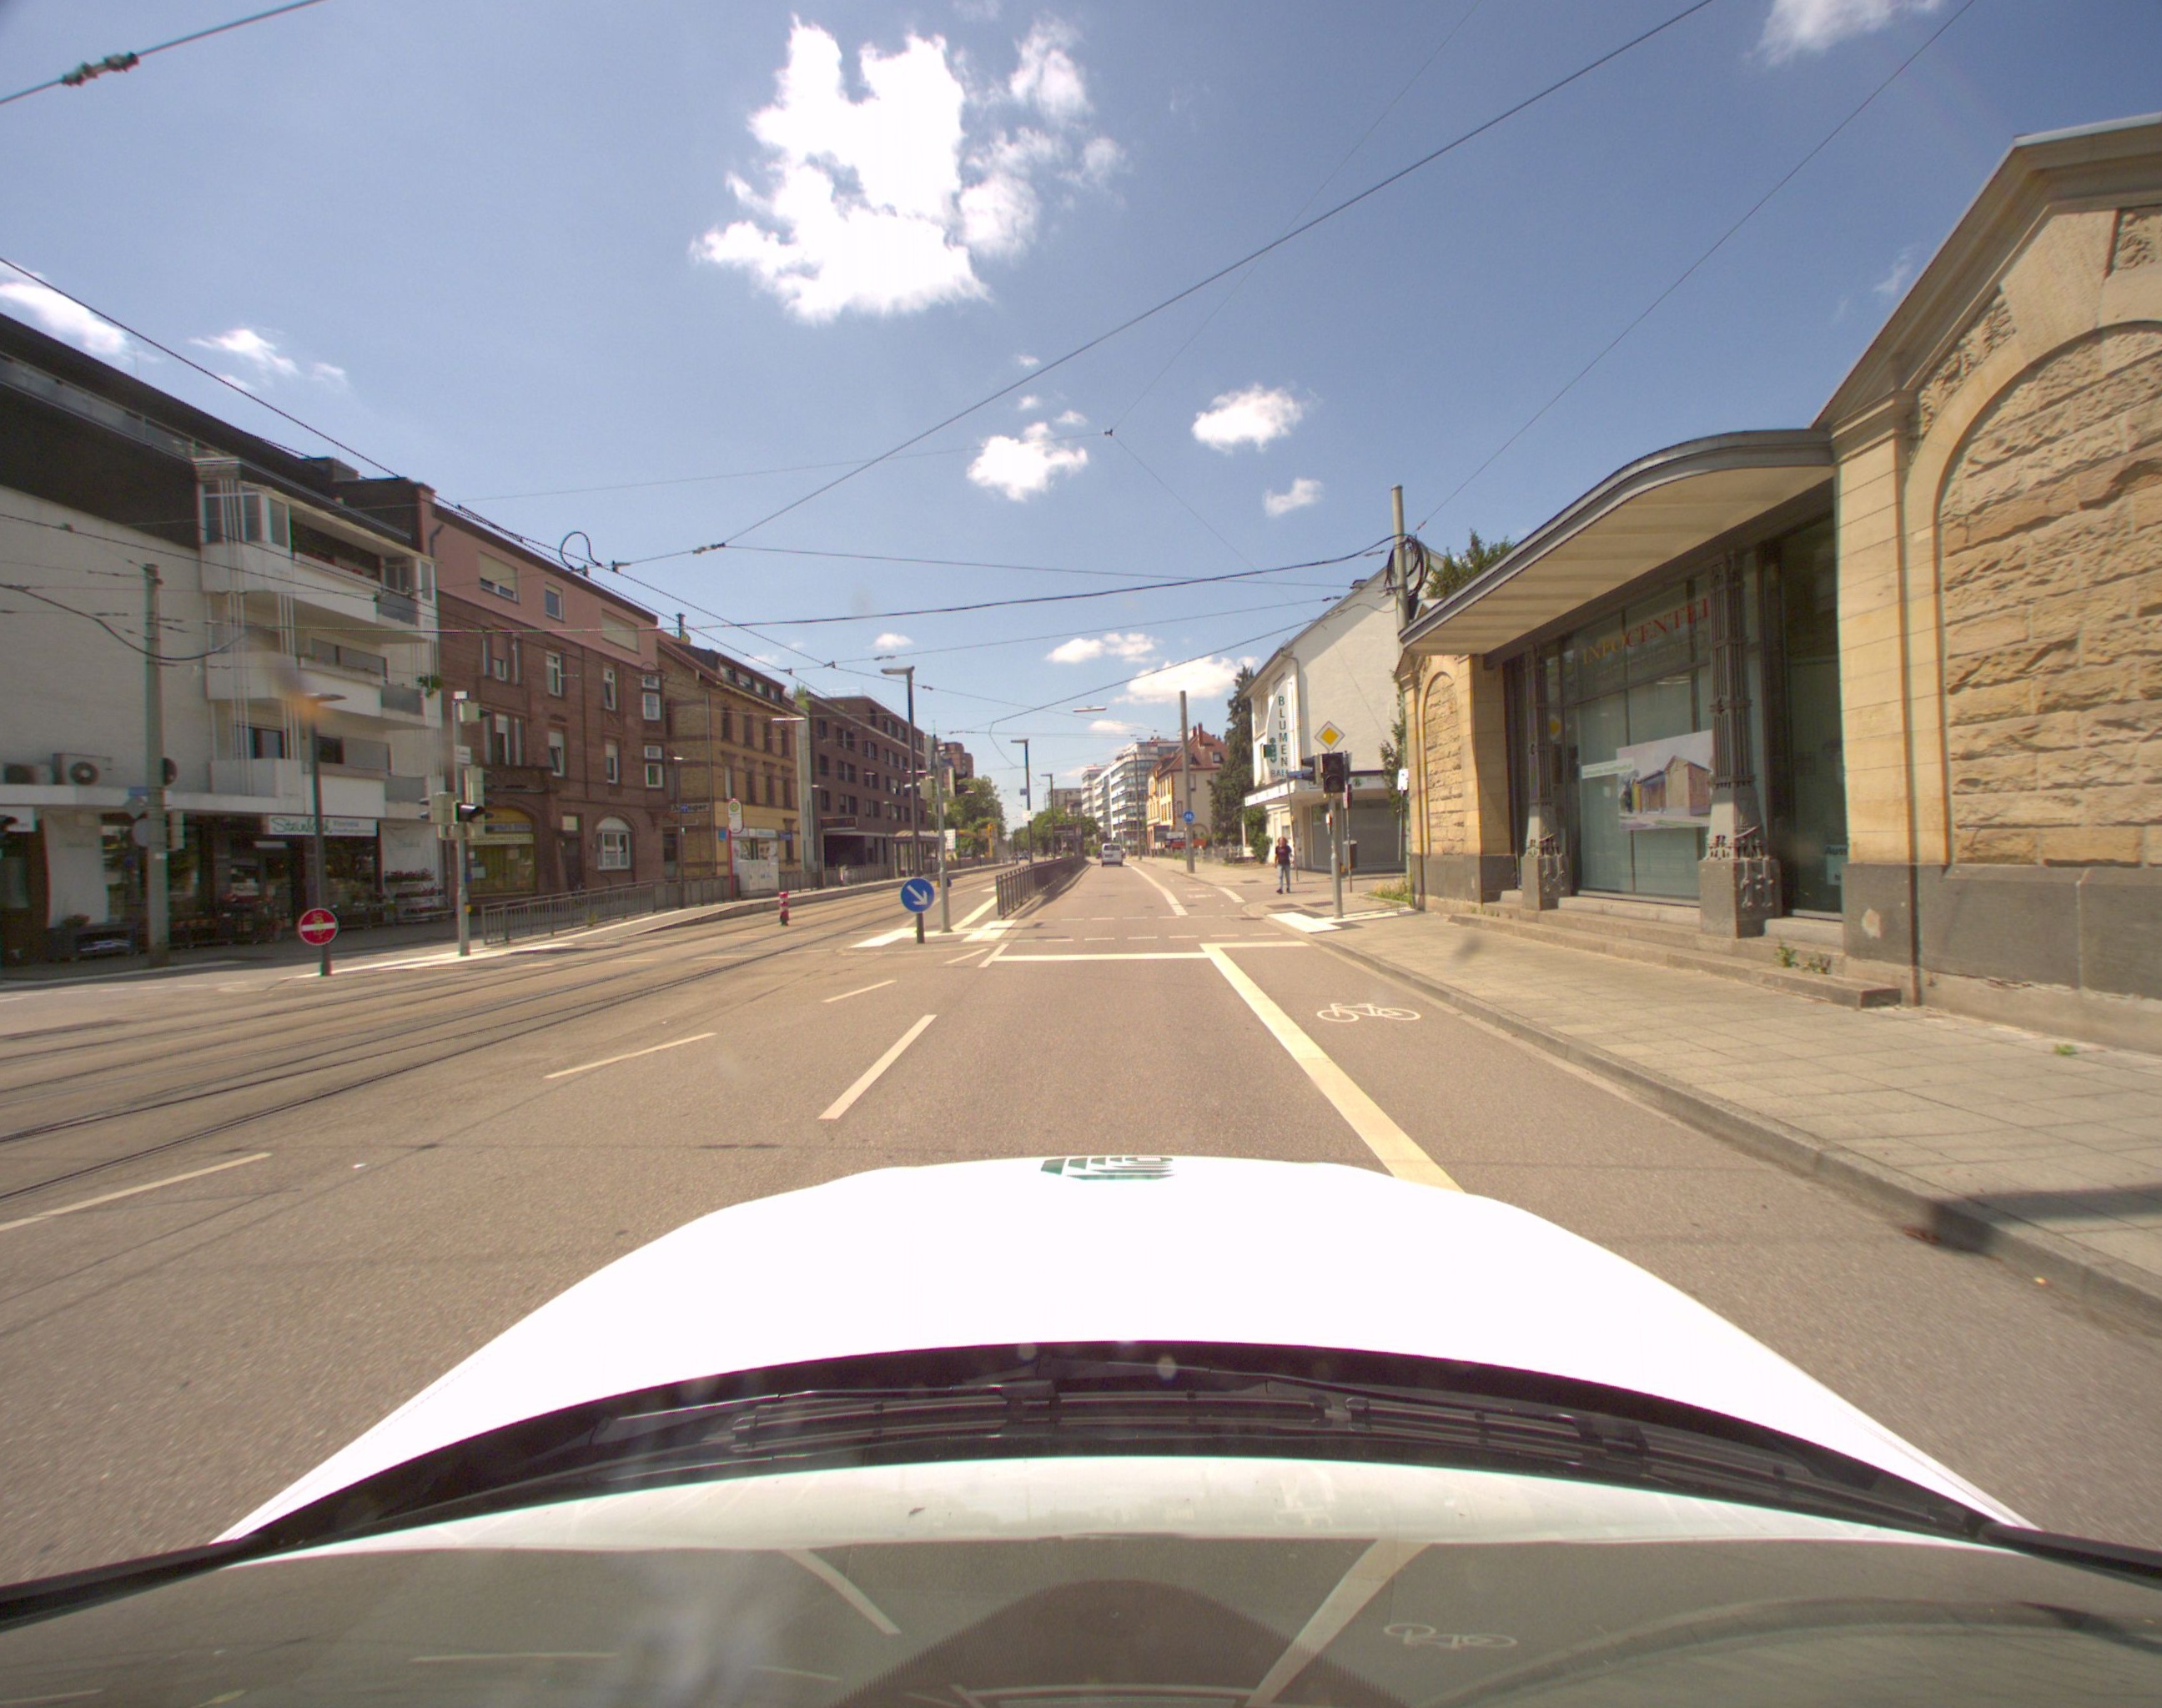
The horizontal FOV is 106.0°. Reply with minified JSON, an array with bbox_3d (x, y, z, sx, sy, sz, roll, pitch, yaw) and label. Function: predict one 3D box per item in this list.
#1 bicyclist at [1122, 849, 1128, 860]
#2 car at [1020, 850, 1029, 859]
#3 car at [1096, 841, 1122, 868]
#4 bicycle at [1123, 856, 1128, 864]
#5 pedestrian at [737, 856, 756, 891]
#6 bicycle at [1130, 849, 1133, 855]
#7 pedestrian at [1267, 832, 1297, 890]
[{"bbox_3d":[5.392,0.050,99.355,0.590,1.397,0.841,-2,0,-3],"label":"bicyclist"},{"bbox_3d":[-11.649,0.094,166.746,1.696,1.616,3.751,-5,-1,-5],"label":"car"},{"bbox_3d":[2.304,0.006,65.751,1.744,2.013,4.006,-4,1,5],"label":"car"},{"bbox_3d":[5.421,0.693,99.396,0.464,0.887,2.046,-2,1,-2],"label":"bicycle"},{"bbox_3d":[-19.560,1.139,47.629,0.615,2.013,0.810,-3,0,0],"label":"pedestrian"},{"bbox_3d":[7.100,-0.285,115.287,0.355,0.940,1.318,-5,0,3],"label":"bicycle"},{"bbox_3d":[5.596,0.196,22.669,0.574,1.556,0.787,-5,-1,5],"label":"pedestrian"}]
